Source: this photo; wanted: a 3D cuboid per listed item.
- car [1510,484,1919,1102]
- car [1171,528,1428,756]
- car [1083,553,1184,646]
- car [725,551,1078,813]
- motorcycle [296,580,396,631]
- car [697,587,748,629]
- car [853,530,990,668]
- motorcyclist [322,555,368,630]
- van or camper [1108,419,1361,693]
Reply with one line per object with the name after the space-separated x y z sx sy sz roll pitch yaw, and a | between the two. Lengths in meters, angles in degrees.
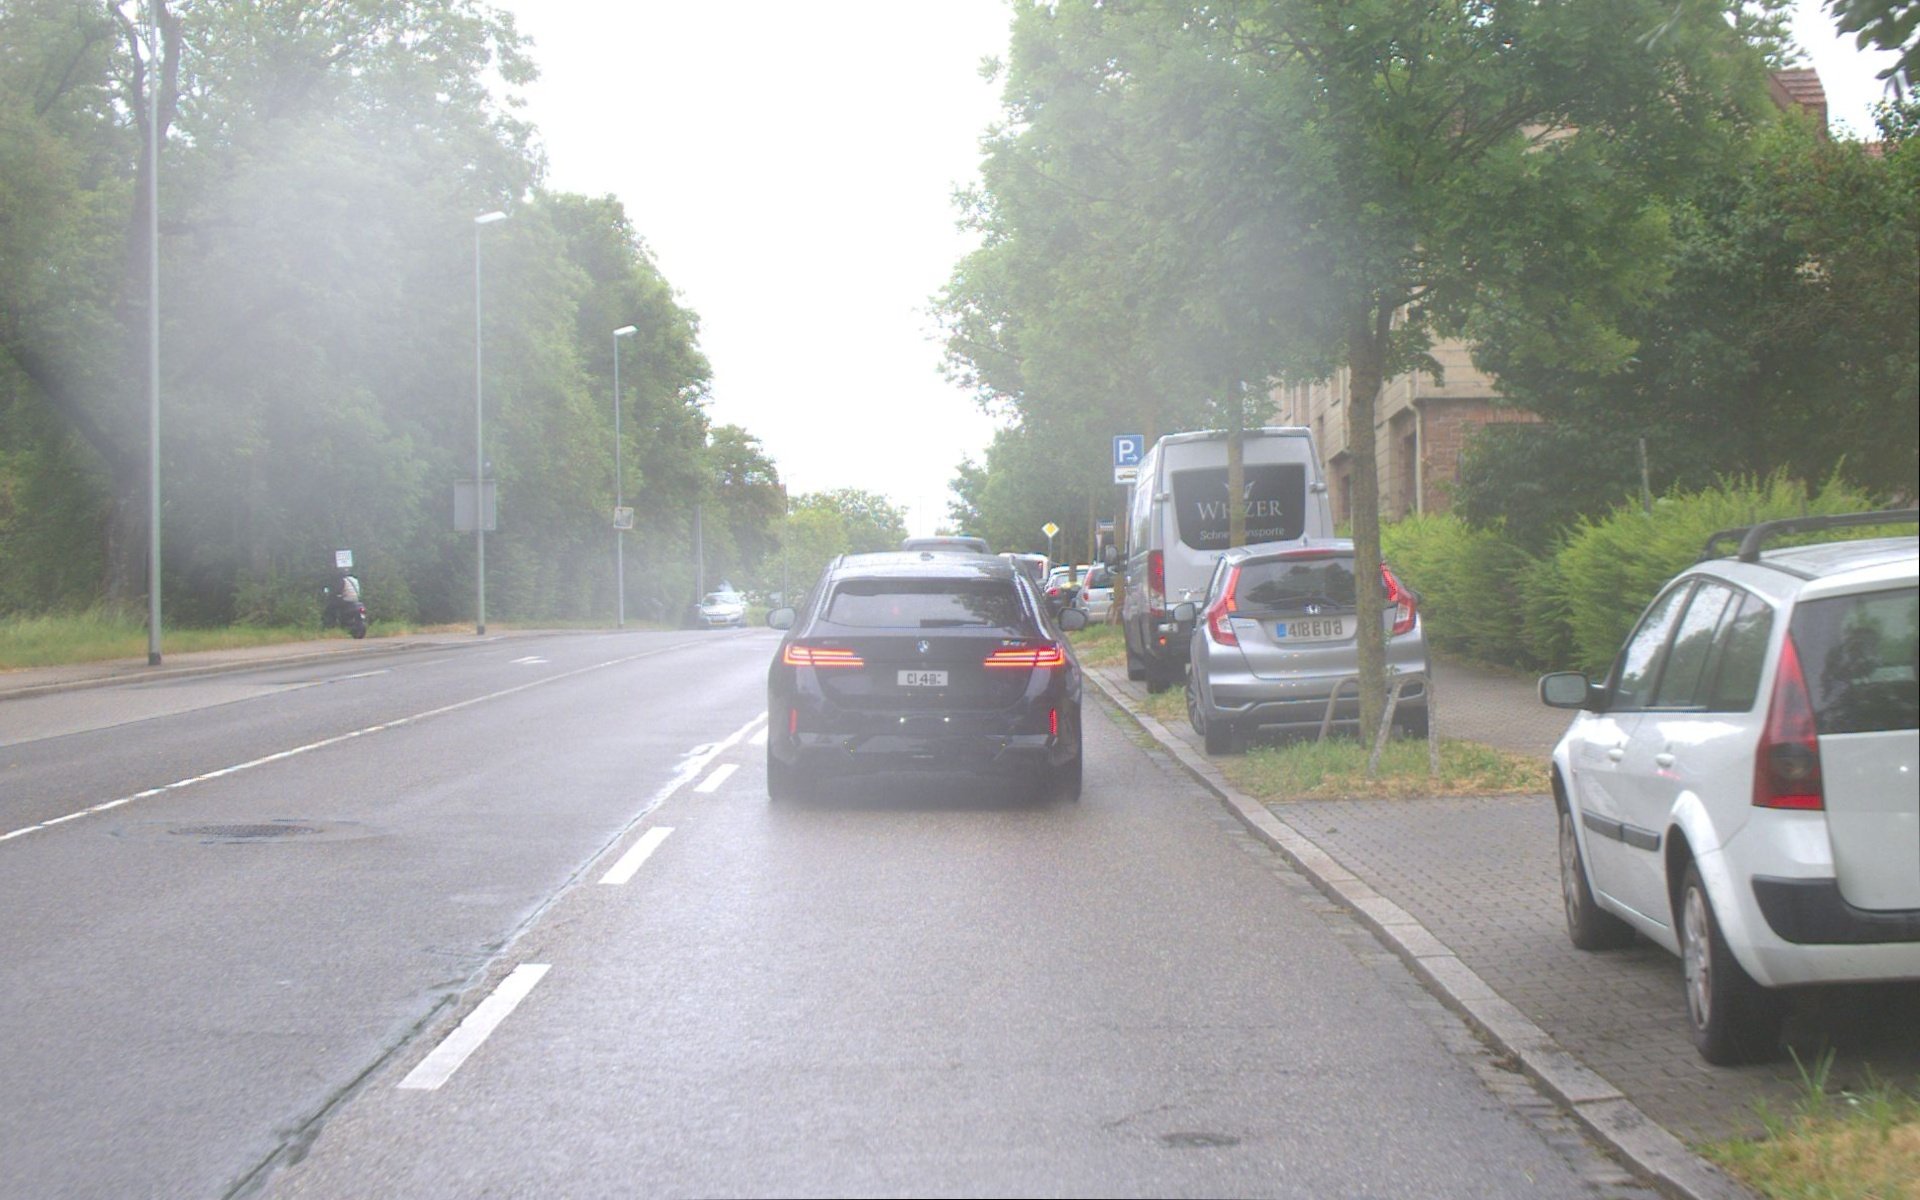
2.982 0.440 11.191 1.824 1.597 4.473 -2 1 3 | car
2.532 0.273 26.368 1.668 1.523 3.831 -3 1 3 | car
3.308 -0.036 66.085 1.702 1.579 4.643 -4 1 1 | car
-0.367 0.464 21.822 1.993 1.448 4.000 2 0 -1 | car
-13.895 0.112 77.772 2.185 1.114 0.823 1 1 28 | motorcycle
-8.966 0.302 129.928 1.689 1.478 4.452 -3 0 -2 | car
-0.538 -0.019 52.127 1.993 2.007 4.000 0 0 1 | car
-13.905 -0.178 77.774 0.650 1.675 0.812 1 1 27 | motorcyclist
2.897 -0.507 37.996 2.198 2.642 7.301 -2 1 1 | van or camper
